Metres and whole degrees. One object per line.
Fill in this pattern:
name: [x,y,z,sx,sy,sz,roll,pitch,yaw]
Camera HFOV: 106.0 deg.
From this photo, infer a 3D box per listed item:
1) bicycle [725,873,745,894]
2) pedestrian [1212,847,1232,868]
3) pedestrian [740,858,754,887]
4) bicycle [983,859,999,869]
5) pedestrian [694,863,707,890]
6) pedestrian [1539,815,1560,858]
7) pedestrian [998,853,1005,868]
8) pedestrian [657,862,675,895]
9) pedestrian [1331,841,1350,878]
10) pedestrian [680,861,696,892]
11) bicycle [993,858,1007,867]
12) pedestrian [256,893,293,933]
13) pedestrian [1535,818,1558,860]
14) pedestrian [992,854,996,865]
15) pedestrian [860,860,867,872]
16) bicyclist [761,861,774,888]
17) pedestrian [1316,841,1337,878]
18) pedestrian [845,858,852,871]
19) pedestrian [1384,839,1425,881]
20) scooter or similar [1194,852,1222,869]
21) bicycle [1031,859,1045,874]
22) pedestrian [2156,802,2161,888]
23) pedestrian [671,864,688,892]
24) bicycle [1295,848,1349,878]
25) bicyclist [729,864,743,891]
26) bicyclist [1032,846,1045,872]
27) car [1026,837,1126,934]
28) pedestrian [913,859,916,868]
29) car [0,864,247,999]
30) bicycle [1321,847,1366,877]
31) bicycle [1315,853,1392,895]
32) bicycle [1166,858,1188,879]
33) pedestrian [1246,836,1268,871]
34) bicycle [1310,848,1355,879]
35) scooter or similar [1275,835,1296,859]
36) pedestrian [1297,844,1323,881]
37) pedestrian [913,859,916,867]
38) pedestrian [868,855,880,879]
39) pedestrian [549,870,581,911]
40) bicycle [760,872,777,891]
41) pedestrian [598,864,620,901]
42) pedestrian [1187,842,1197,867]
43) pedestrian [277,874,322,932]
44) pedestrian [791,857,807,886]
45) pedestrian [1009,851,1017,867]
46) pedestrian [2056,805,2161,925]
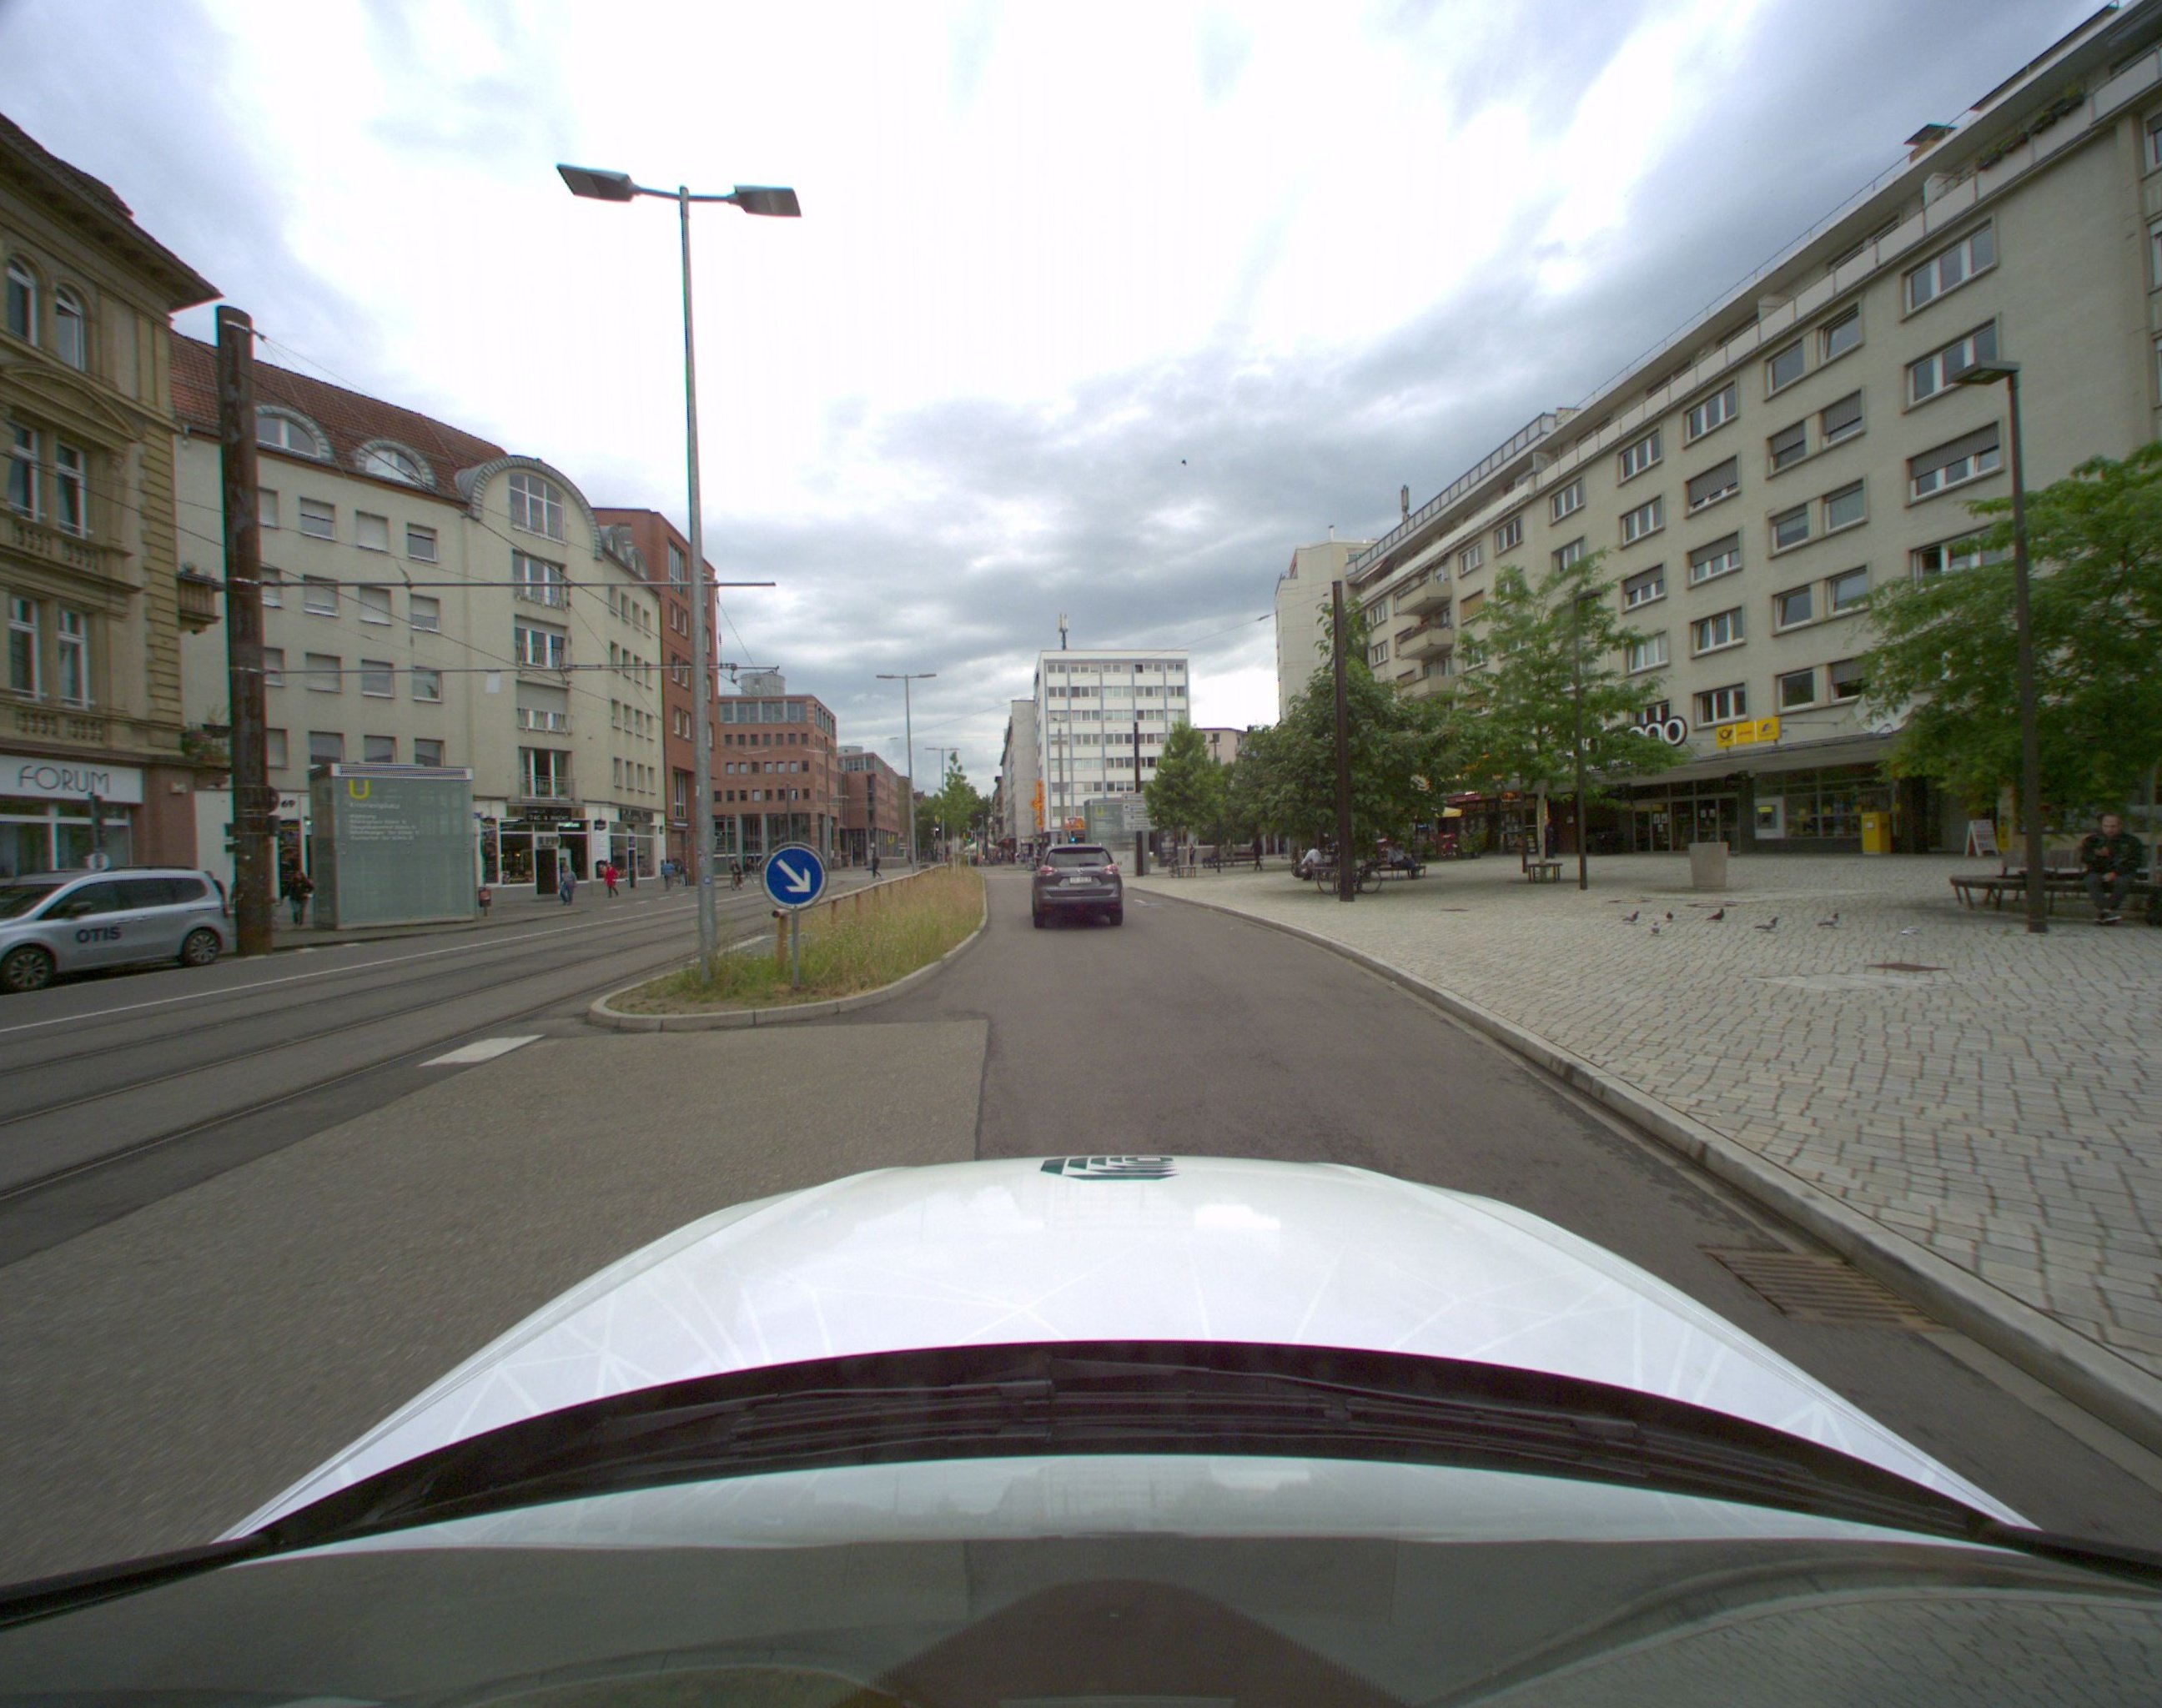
bicycle: [-18.396,1.562,43.385,0.479,1.021,1.906,-2,0,-9]
pedestrian: [9.008,0.215,51.960,1.042,1.297,0.732,-4,0,-2]
pedestrian: [-22.559,1.250,55.006,0.610,1.890,0.796,-2,-1,-10]
bicycle: [-10.907,1.263,98.586,1.874,1.172,0.527,-1,0,-22]
pedestrian: [-24.105,1.419,51.558,0.569,1.684,0.796,0,-1,-12]
pedestrian: [21.009,-0.782,36.547,0.766,1.885,0.858,-1,0,31]
pedestrian: [-9.588,0.806,98.313,0.734,1.745,0.659,-1,0,-20]
pedestrian: [-21.725,1.276,42.670,0.661,1.687,0.718,-2,-1,-16]
pedestrian: [9.968,0.207,31.328,0.539,1.366,1.284,-1,0,10]
pedestrian: [-21.338,1.223,44.203,0.662,1.687,0.718,-2,-1,-20]
bicycle: [-9.827,1.066,98.745,1.701,1.065,0.434,-1,0,-20]
pedestrian: [-21.976,1.605,22.191,0.551,1.031,0.453,-1,0,1]
pedestrian: [20.092,-0.648,35.136,0.766,1.751,0.722,-4,0,31]
pedestrian: [-12.911,0.789,120.844,0.642,1.705,0.558,-1,0,-7]
pedestrian: [-32.455,1.797,121.468,0.697,1.842,0.736,-1,0,6]
bicyclist: [-18.273,1.193,47.495,0.491,1.540,0.809,-2,0,-9]
pedestrian: [9.261,0.194,30.698,0.624,1.366,0.922,-1,0,10]
pedestrian: [-34.837,1.546,122.092,0.737,1.842,0.695,-1,0,-32]
pedestrian: [10.923,0.192,27.539,0.627,1.366,1.405,-1,0,-8]
scooter or similar: [8.128,0.419,52.233,1.571,0.948,0.729,-4,0,31]
bicycle: [-3.036,0.868,57.217,0.900,1.045,3.272,-2,0,-5]
pedestrian: [13.707,0.074,9.867,0.784,1.455,0.760,-5,0,-37]
pedestrian: [-24.913,1.499,50.568,0.872,1.687,0.657,-2,-1,-22]
bicycle: [9.831,0.349,33.223,2.023,1.111,0.478,-3,0,8]
bicyclist: [-18.422,1.236,43.478,0.479,1.407,0.809,-2,0,-9]
bicyclist: [-2.998,0.365,57.087,0.833,1.812,0.876,-1,0,-5]
car: [-0.155,0.597,18.015,1.858,1.774,4.564,-3,0,-2]
pedestrian: [-32.143,1.813,157.128,0.601,1.714,0.652,-1,0,-15]
car: [-16.469,1.177,13.040,1.902,1.864,4.507,-4,0,-9]
bicycle: [10.506,0.303,32.622,1.592,1.111,0.478,-3,0,7]
bicycle: [7.472,0.539,22.399,1.906,1.123,0.646,-1,0,3]
bicycle: [4.790,0.708,40.473,0.652,0.978,1.764,-2,0,21]
pedestrian: [9.433,-0.034,43.664,0.713,1.802,1.075,-5,0,-8]
bicycle: [9.898,0.370,32.138,1.592,1.111,0.478,-3,0,7]
scooter or similar: [16.122,-0.525,64.346,1.080,1.806,2.275,-3,0,1]
pedestrian: [8.557,0.311,30.398,0.631,1.366,0.682,-1,0,-26]
pedestrian: [-34.136,1.845,166.785,0.601,1.714,0.652,-1,0,-15]
pedestrian: [-14.546,0.926,57.202,0.744,1.684,0.796,0,-1,-12]
pedestrian: [-21.882,1.535,34.553,0.715,1.687,0.828,-3,-1,13]
bicycle: [-18.294,1.579,47.749,0.476,1.021,1.906,-2,0,-8]
pedestrian: [-22.382,1.346,38.598,0.722,1.687,0.658,-2,-1,-18]
pedestrian: [8.004,0.051,58.614,0.667,1.761,0.643,-1,0,8]
pedestrian: [-21.376,1.330,22.290,0.551,1.556,0.658,-1,0,6]
pedestrian: [-18.986,1.165,54.914,0.896,1.890,0.796,0,-1,-10]
pedestrian: [-8.270,0.611,98.943,0.714,1.832,1.012,-1,0,-15]
pedestrian: [13.297,0.133,10.543,0.784,1.455,0.760,-5,0,-37]
